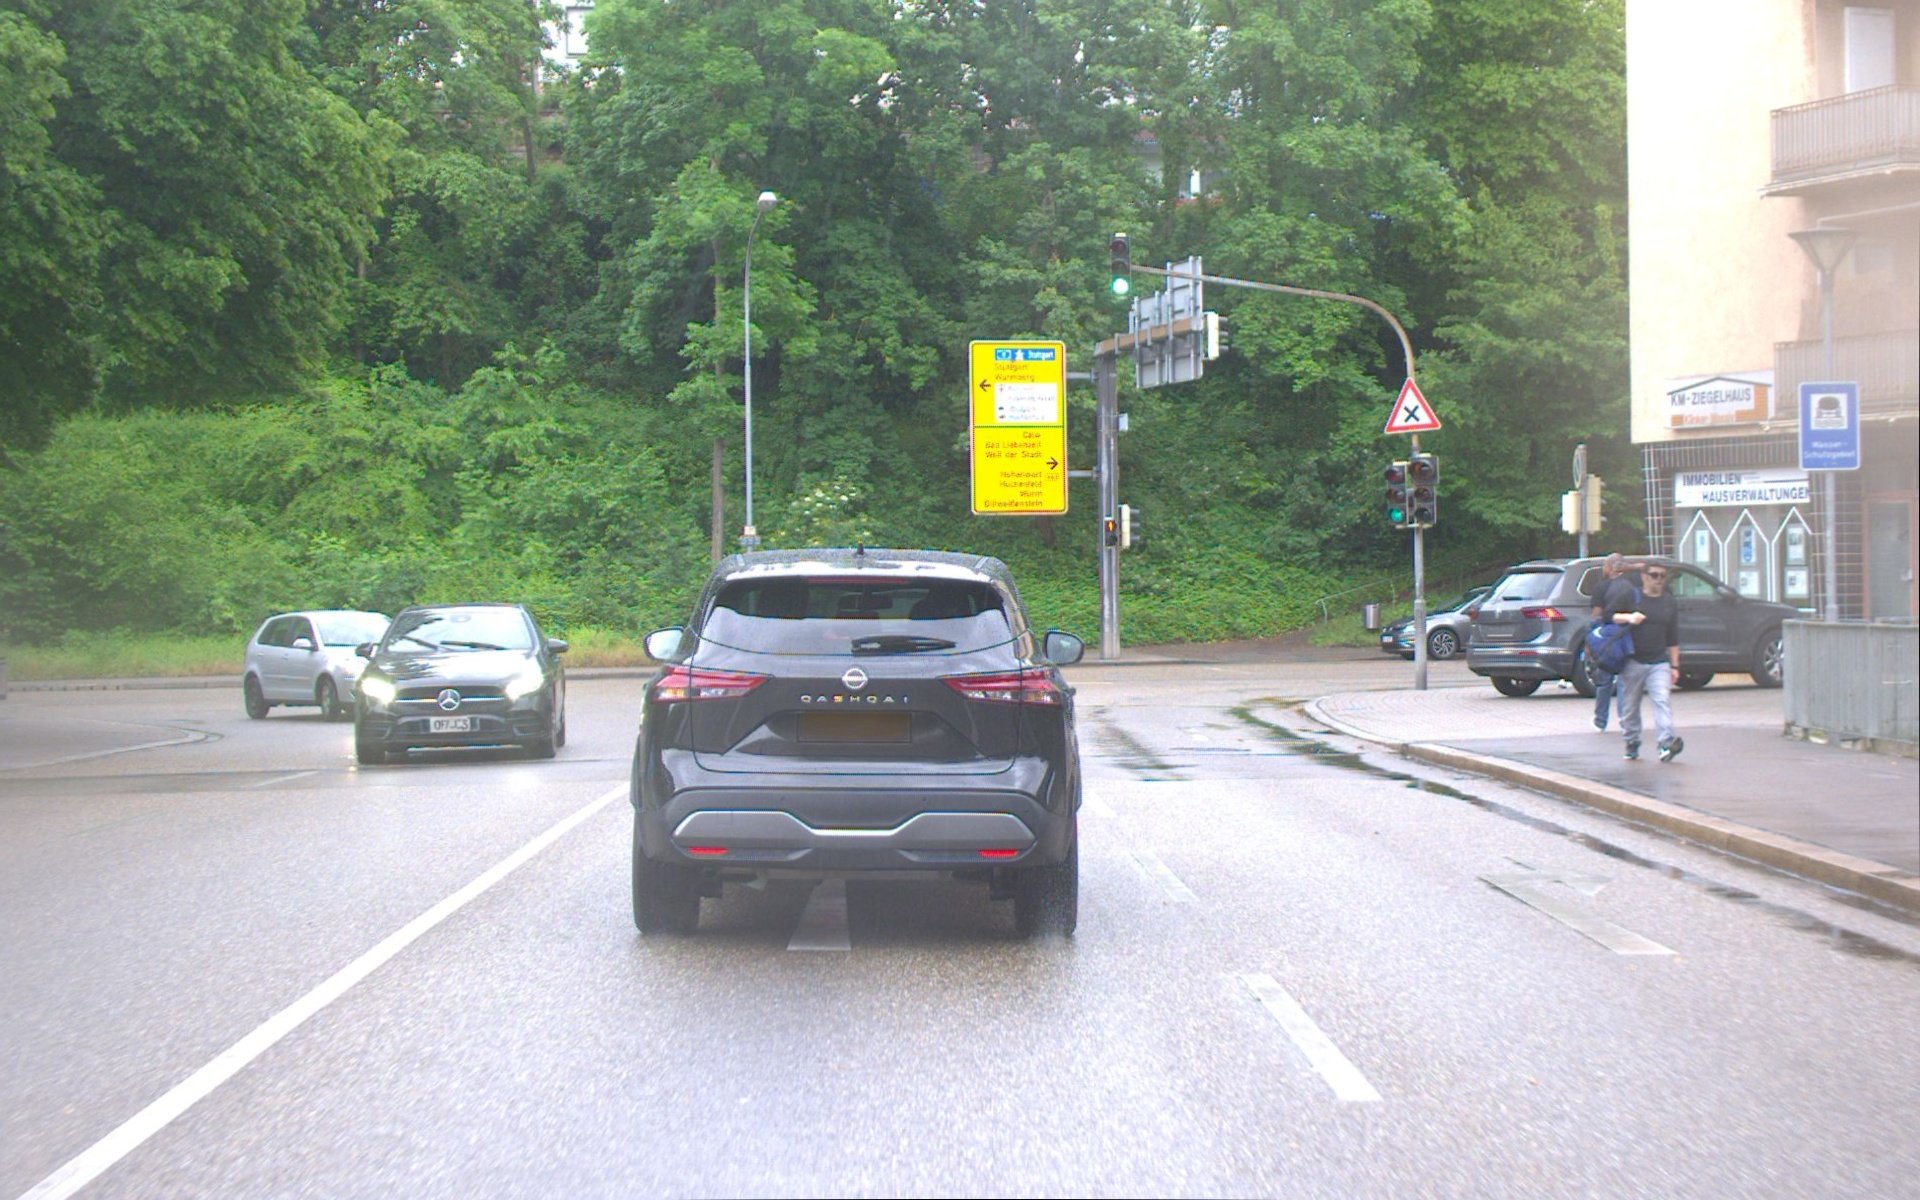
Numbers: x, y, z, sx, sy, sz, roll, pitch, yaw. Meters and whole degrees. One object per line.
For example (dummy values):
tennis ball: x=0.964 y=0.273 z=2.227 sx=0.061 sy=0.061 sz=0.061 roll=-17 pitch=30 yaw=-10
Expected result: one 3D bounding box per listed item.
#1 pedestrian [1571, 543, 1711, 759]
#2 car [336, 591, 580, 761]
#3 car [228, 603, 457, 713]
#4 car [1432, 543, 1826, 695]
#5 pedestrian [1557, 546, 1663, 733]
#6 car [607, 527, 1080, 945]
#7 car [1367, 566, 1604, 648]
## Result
pedestrian: x=5.245 y=0.385 z=26.528 sx=0.862 sy=1.613 sz=0.839 roll=-2 pitch=0 yaw=-1
car: x=-4.622 y=0.658 z=32.169 sx=1.709 sy=1.411 sz=4.094 roll=-2 pitch=1 yaw=-1
car: x=-8.478 y=0.787 z=46.986 sx=1.626 sy=1.415 sz=3.685 roll=-1 pitch=0 yaw=-36
car: x=8.068 y=0.211 z=41.407 sx=4.366 sy=1.643 sz=1.884 roll=-2 pitch=0 yaw=-26
pedestrian: x=6.018 y=0.355 z=31.850 sx=0.761 sy=1.671 sz=0.781 roll=-3 pitch=1 yaw=-1
car: x=-0.484 y=0.528 z=15.254 sx=1.811 sy=1.597 sz=4.000 roll=0 pitch=0 yaw=-1
car: x=10.647 y=0.141 z=69.758 sx=4.323 sy=1.497 sz=1.884 roll=-2 pitch=0 yaw=-12
